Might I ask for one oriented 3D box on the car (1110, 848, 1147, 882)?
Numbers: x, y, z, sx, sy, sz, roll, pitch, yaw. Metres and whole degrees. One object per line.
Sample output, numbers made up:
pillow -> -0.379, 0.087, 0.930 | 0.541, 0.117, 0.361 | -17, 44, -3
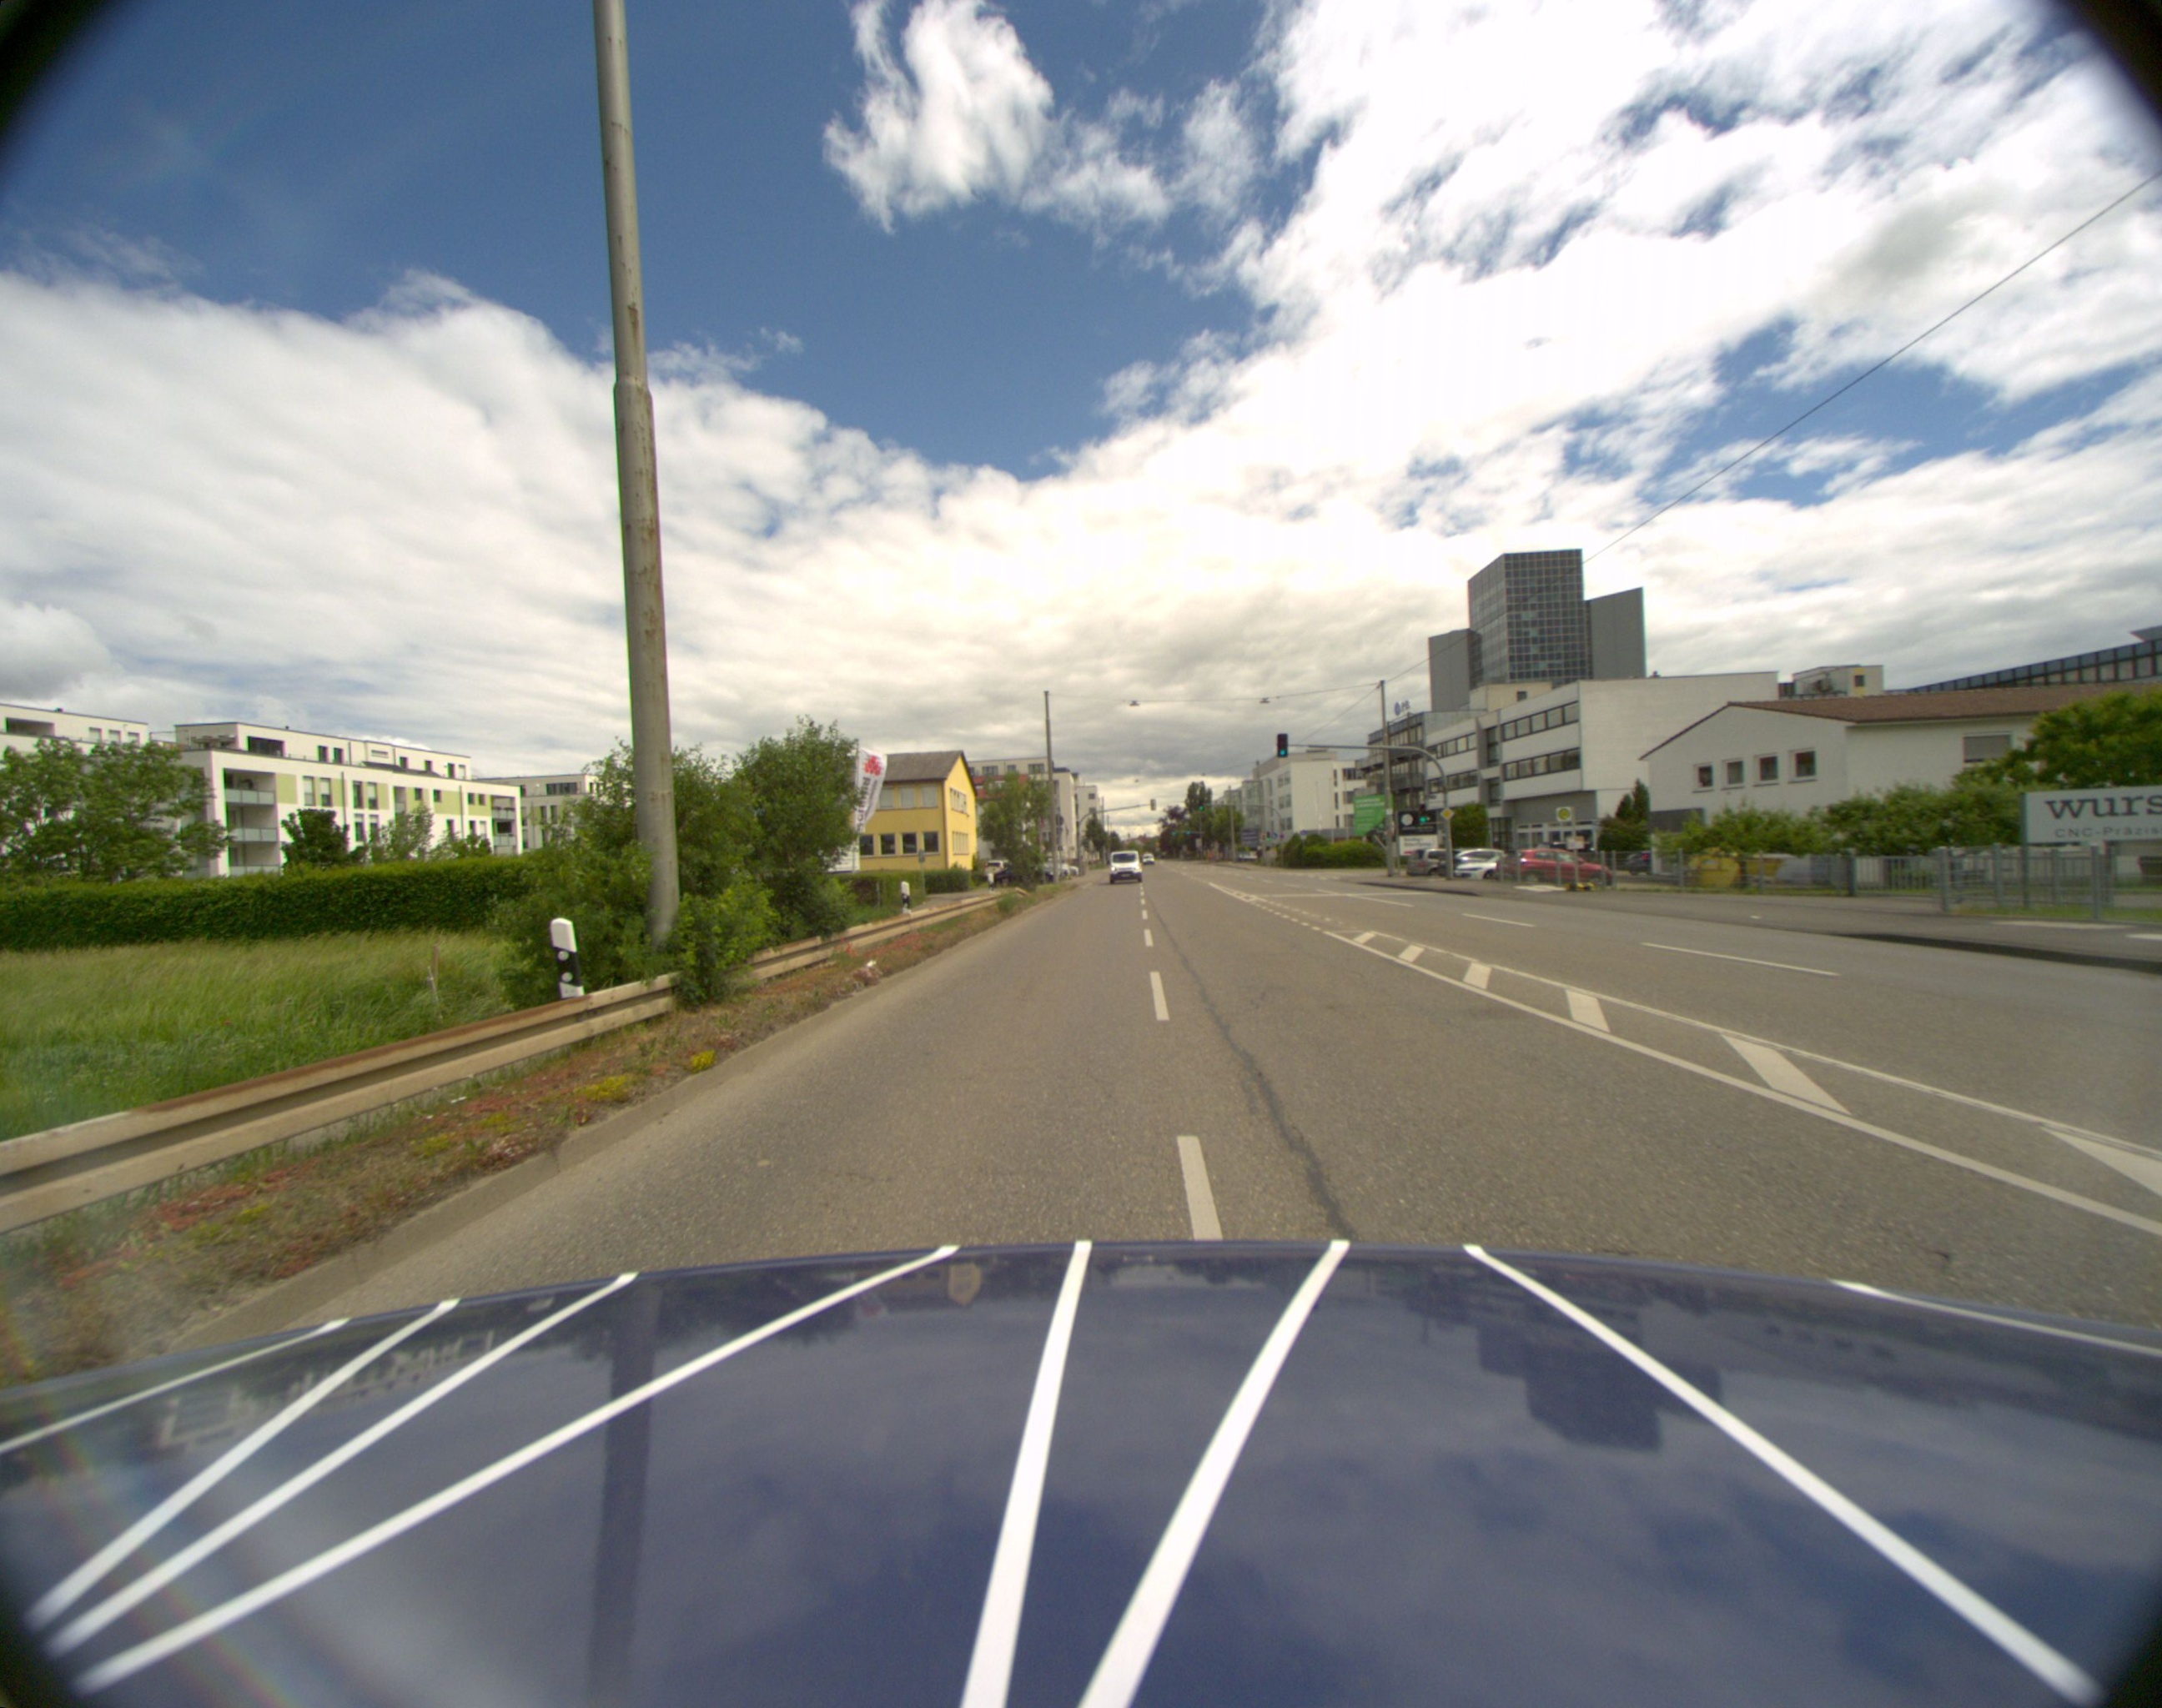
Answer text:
car -> 2.954, 0.634, 48.177 | 1.998, 1.907, 5.881 | -2, 1, 1

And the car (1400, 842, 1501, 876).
car -> 17.952, 0.239, 37.043 | 3.997, 1.324, 1.824 | -4, 0, 0

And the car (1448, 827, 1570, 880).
car -> 17.994, -0.028, 32.081 | 3.997, 2.002, 1.920 | -2, 1, 1

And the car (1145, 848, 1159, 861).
car -> 11.410, 0.106, 122.250 | 1.800, 2.002, 3.999 | -2, 1, 0

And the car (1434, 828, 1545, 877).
car -> 18.463, -0.062, 34.480 | 3.997, 2.002, 1.904 | -2, 1, 1

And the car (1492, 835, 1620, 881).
car -> 18.302, 0.160, 29.379 | 3.802, 1.601, 1.836 | -2, 0, -2
